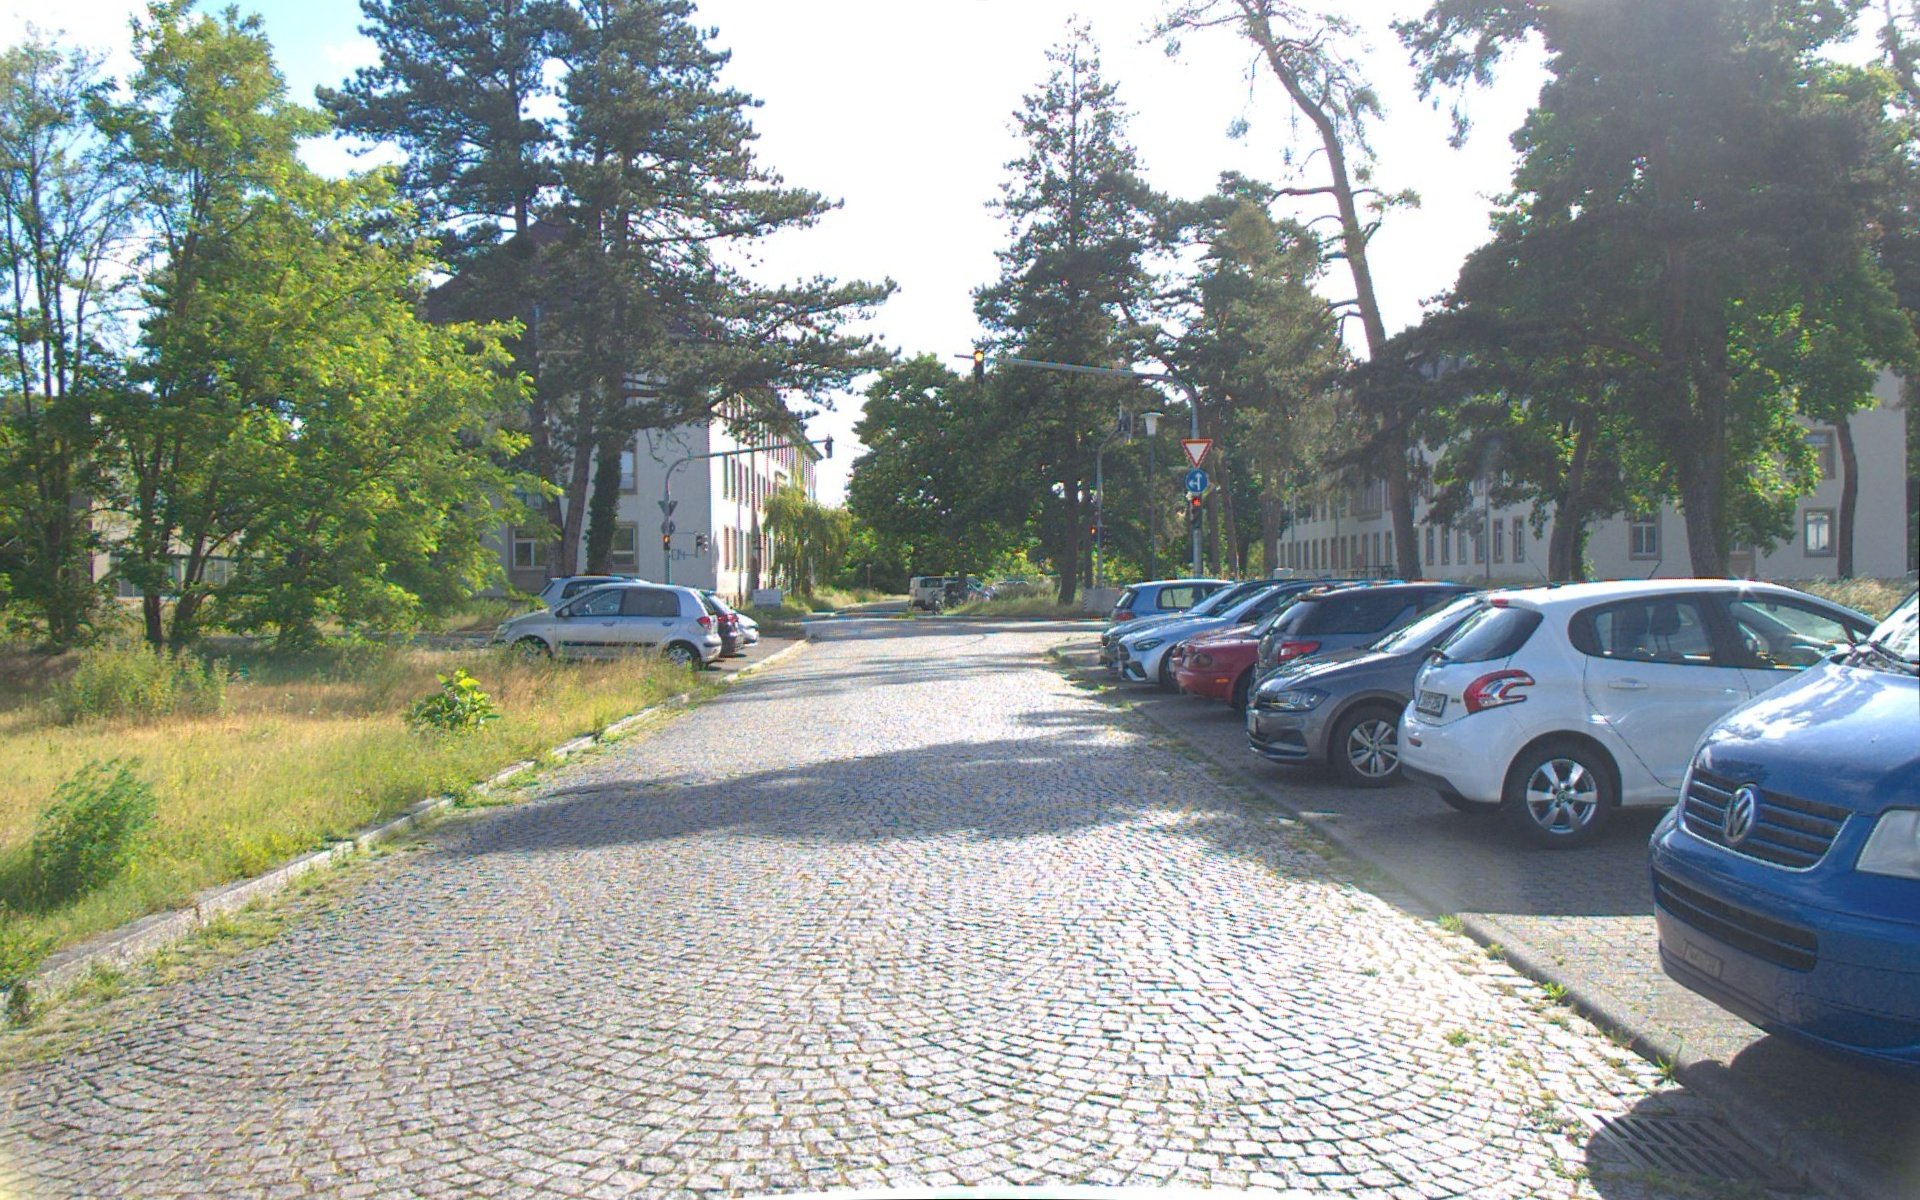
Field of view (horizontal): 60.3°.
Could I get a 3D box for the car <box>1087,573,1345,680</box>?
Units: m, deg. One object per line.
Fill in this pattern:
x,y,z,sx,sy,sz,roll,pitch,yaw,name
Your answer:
3.976,0.387,26.049,3.759,1.556,1.645,-1,1,-3,car

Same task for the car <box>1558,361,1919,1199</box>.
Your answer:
4.505,0.404,5.051,4.585,2.049,2.082,-1,1,-4,car

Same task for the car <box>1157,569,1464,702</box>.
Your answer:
4.404,0.420,21.104,3.530,1.556,1.645,-1,1,-3,car

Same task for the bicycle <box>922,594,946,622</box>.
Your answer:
-1.177,0.357,74.114,0.789,1.190,2.177,-3,1,-7,bicycle

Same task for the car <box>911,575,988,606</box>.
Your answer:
-0.609,-0.563,95.056,4.390,1.758,1.999,0,1,-2,car

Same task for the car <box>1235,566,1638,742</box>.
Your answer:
4.538,0.484,16.058,3.408,1.556,1.645,-1,1,-3,car

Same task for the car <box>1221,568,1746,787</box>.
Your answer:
4.038,0.561,13.128,3.601,1.492,1.645,-2,1,-3,car

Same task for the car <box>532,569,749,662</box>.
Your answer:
-6.325,0.284,33.077,3.907,1.629,1.999,2,1,-2,car

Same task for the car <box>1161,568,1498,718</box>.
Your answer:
4.112,0.454,18.740,3.408,1.556,1.645,-1,1,-3,car

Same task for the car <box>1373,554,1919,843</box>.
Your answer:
4.600,0.539,10.252,3.619,1.491,1.645,-3,1,-1,car

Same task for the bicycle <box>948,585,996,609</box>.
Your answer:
0.566,-0.165,78.765,2.134,1.119,0.805,0,1,-11,bicycle

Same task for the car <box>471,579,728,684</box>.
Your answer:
-5.944,0.492,27.697,3.908,1.628,1.999,-1,1,-4,car

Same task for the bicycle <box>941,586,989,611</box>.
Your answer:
0.223,-0.081,77.603,2.134,1.119,0.805,0,1,-11,bicycle

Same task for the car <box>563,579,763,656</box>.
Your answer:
-6.301,0.356,35.479,3.906,1.478,2.000,2,1,-2,car

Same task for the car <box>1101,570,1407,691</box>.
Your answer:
4.079,0.397,23.279,3.955,1.556,1.644,-1,1,-5,car

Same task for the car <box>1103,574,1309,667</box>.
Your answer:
4.221,0.325,28.694,3.276,1.508,1.645,-1,1,-3,car
